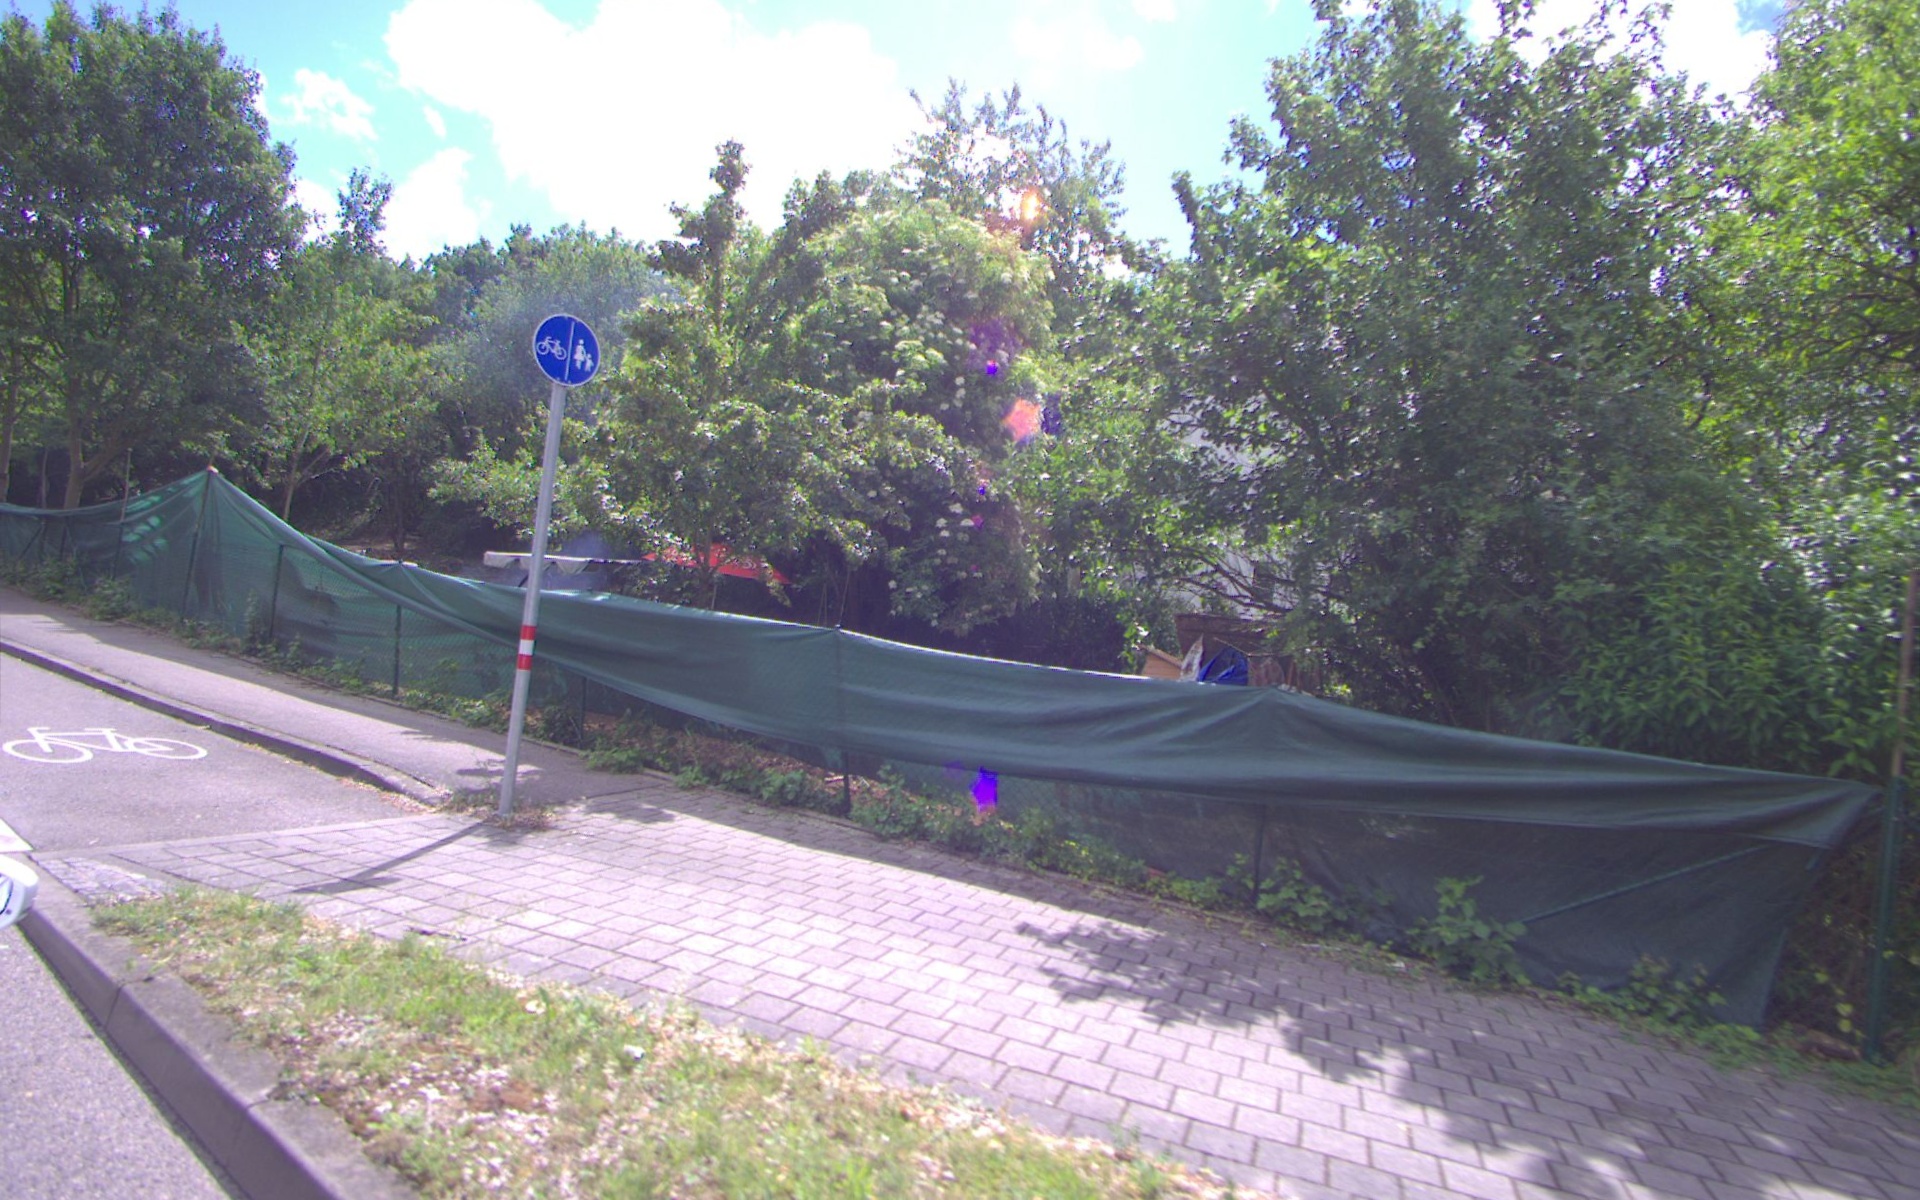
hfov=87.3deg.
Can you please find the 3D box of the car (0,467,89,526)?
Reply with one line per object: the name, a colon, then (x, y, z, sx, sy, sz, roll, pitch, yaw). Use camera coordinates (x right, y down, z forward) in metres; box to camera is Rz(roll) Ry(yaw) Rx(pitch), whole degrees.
car: (-33.809, -3.776, 35.271, 1.970, 1.691, 4.525, 5, -2, 36)
